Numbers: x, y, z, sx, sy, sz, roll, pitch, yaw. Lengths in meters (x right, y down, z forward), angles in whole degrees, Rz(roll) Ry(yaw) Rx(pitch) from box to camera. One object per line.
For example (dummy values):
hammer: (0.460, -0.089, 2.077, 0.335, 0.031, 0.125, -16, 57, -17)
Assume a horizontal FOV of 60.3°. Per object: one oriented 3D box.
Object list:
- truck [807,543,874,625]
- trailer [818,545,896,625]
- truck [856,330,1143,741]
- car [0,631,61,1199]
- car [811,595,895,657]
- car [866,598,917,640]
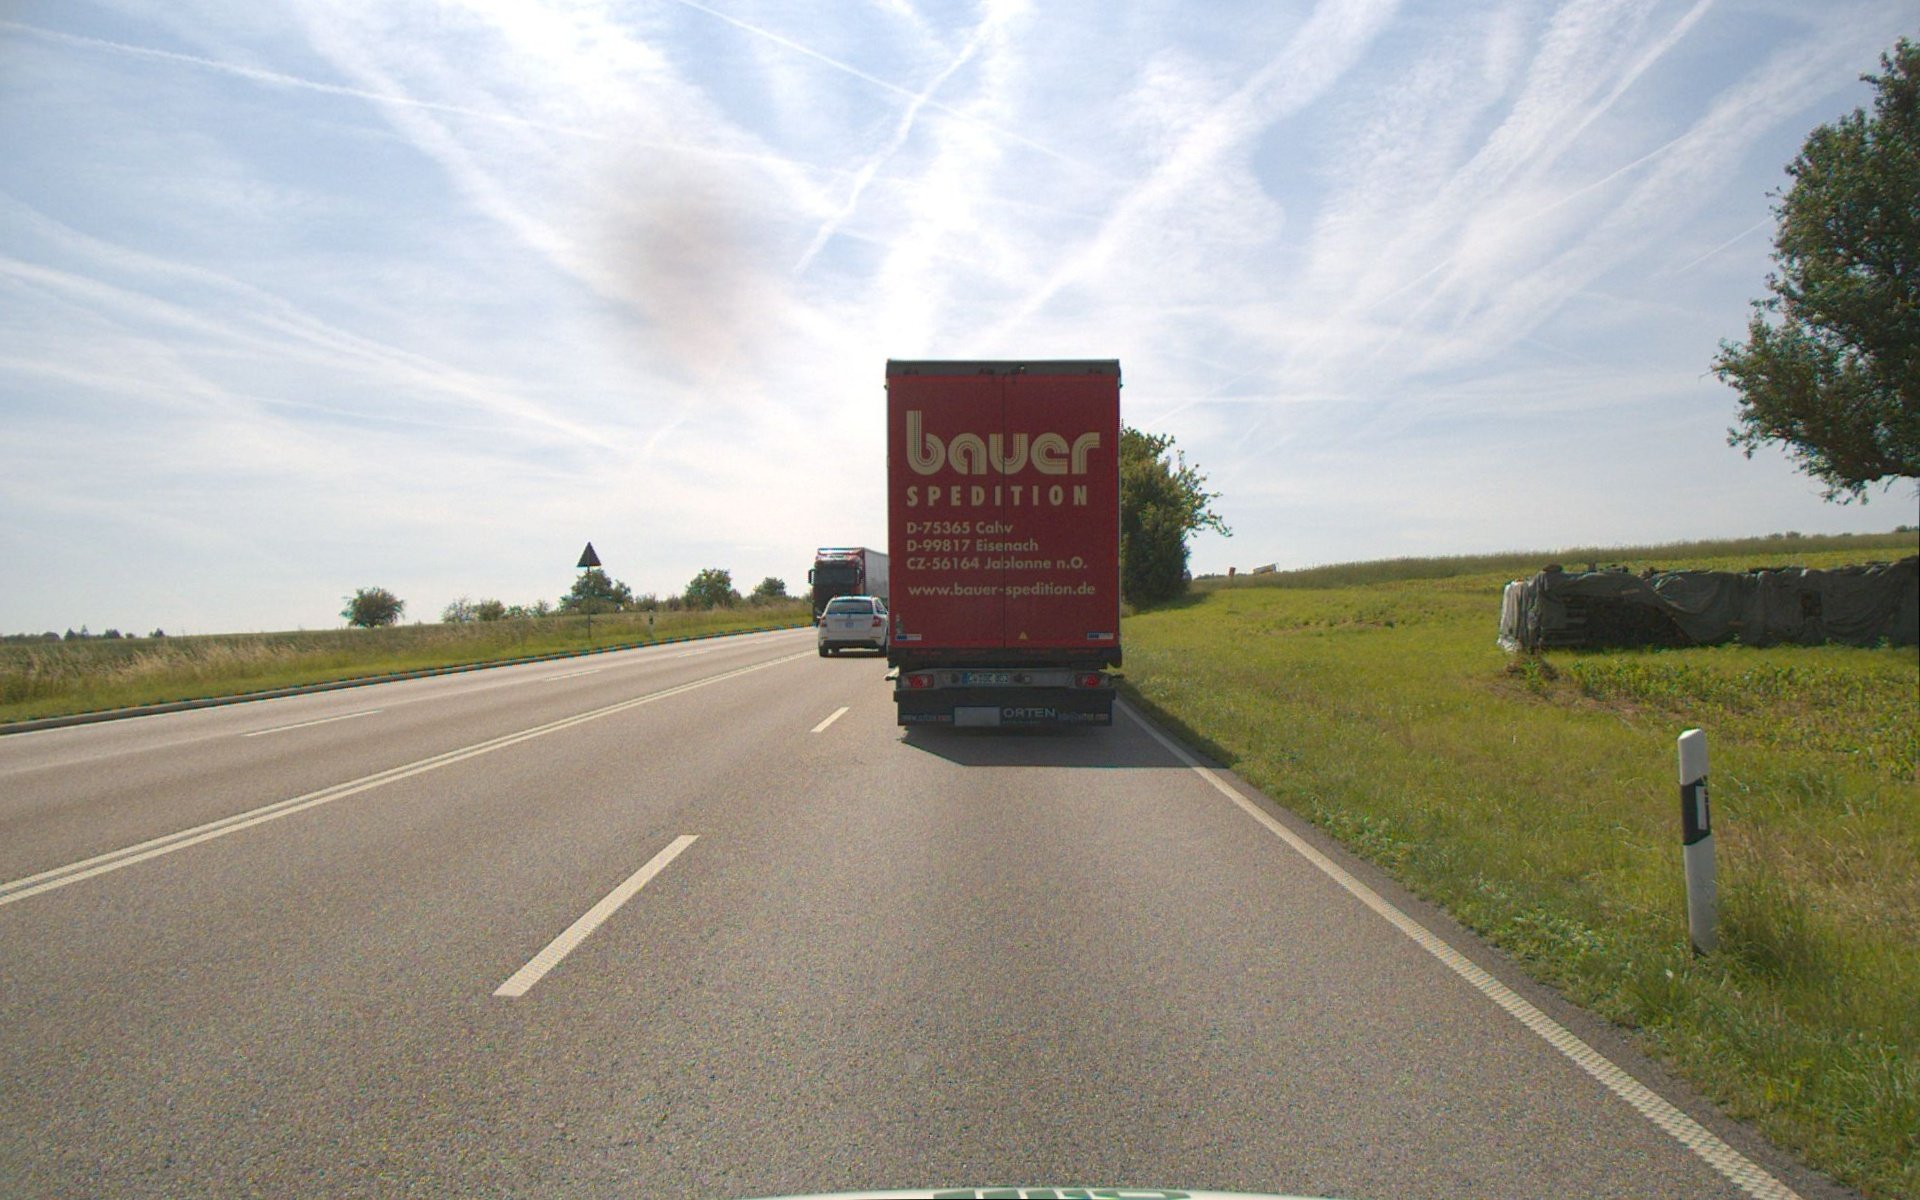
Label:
truck: (-6.353, -0.843, 88.666, 2.562, 4.173, 6.092, -2, 0, 5)
trailer: (-5.758, -0.832, 95.340, 2.491, 4.173, 13.591, -2, 0, 4)
truck: (0.539, -0.655, 25.552, 2.945, 4.253, 16.715, 0, 0, 1)
car: (-3.134, 0.781, 1.948, 1.668, 1.400, 4.602, 0, 0, -1)
car: (-2.709, 0.623, 42.867, 1.783, 1.498, 4.789, 1, 0, 1)
car: (-2.514, 0.686, 61.482, 1.670, 1.498, 4.811, 0, 0, 0)
